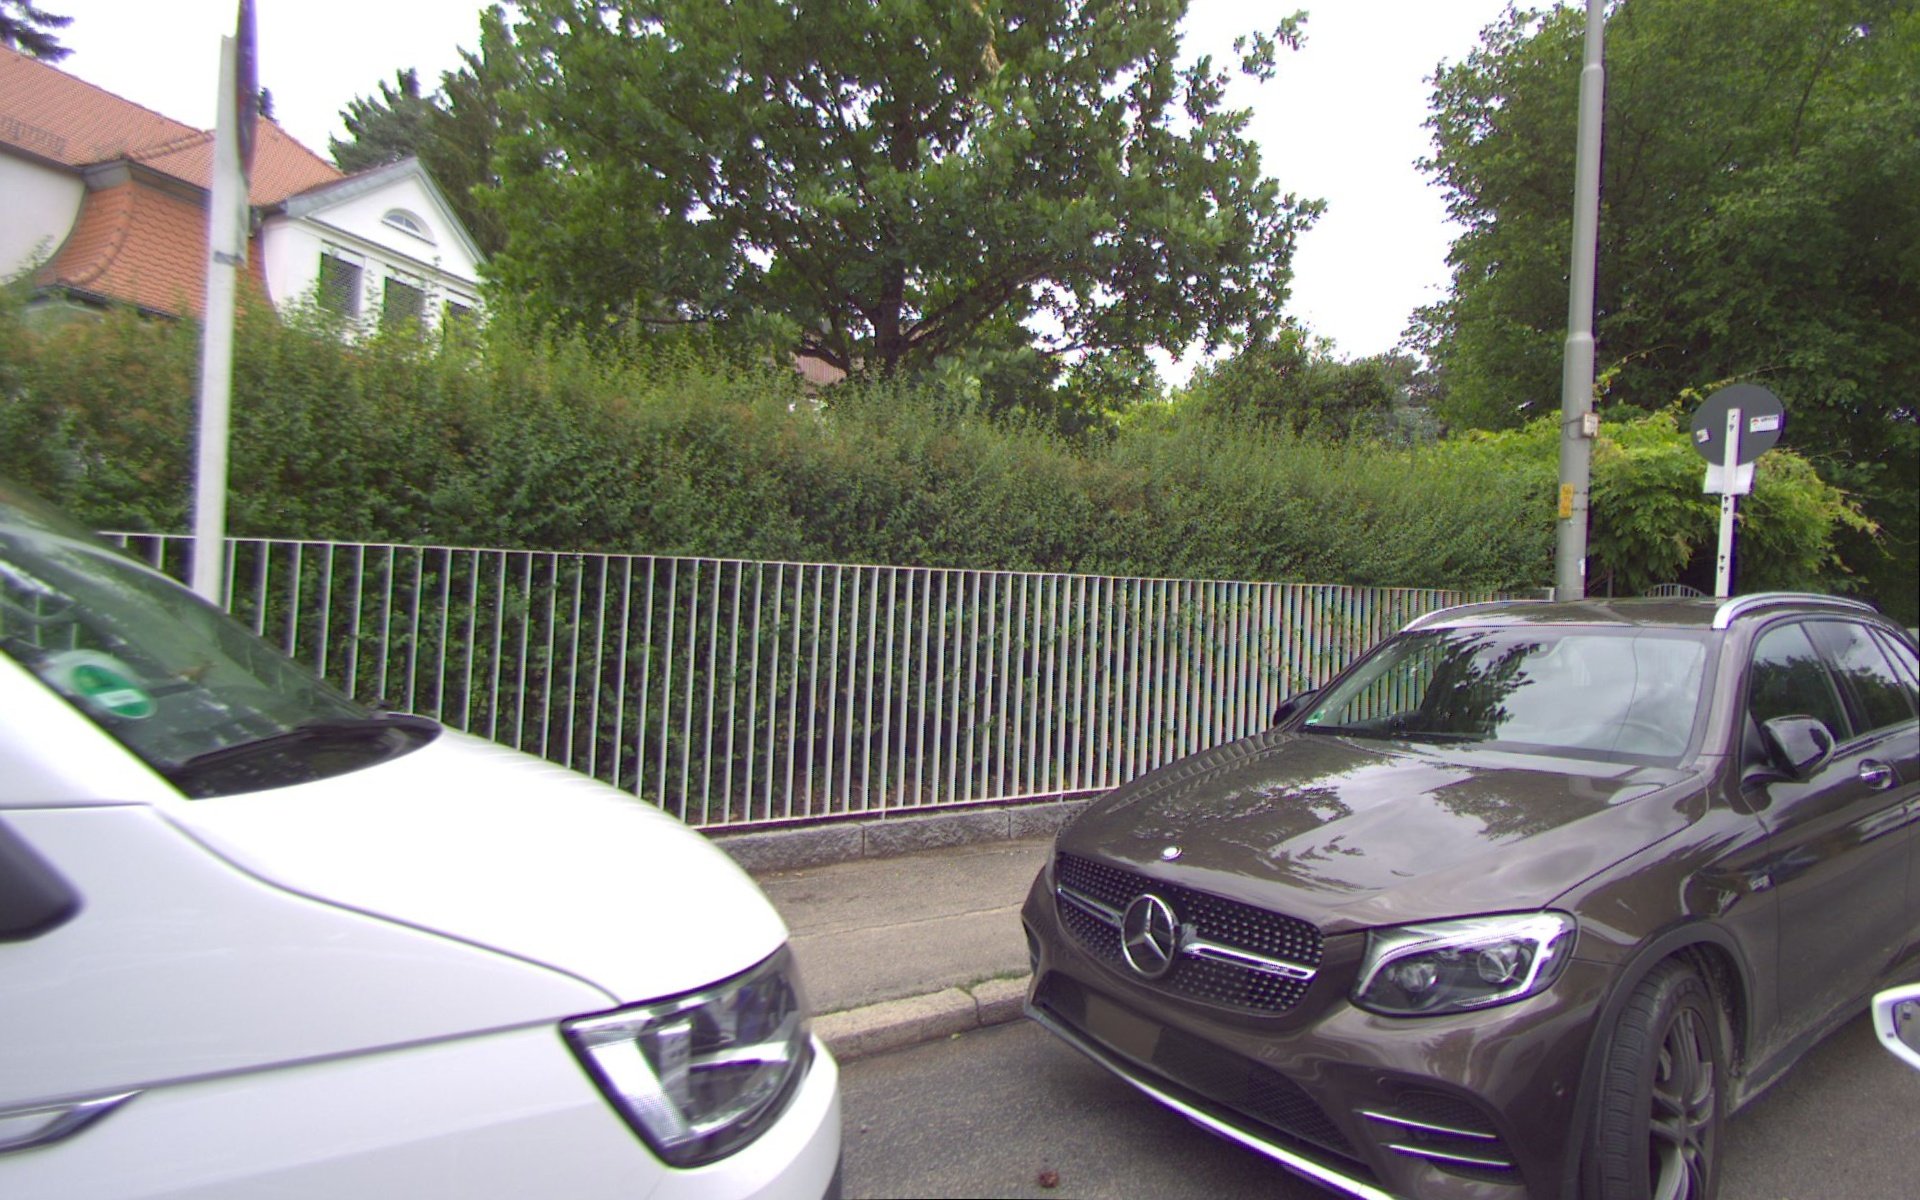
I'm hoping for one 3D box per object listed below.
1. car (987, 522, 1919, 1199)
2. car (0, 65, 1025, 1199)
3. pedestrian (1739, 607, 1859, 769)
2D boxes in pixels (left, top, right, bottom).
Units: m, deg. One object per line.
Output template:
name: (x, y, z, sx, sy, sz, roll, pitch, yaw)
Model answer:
car: (2.362, 0.738, 3.799, 4.296, 1.644, 1.781, 1, -2, -33)
car: (-2.328, 0.515, 0.995, 4.566, 1.938, 1.846, 2, -3, -31)
pedestrian: (8.687, 0.886, 10.402, 0.789, 1.567, 0.605, 1, 4, -31)
